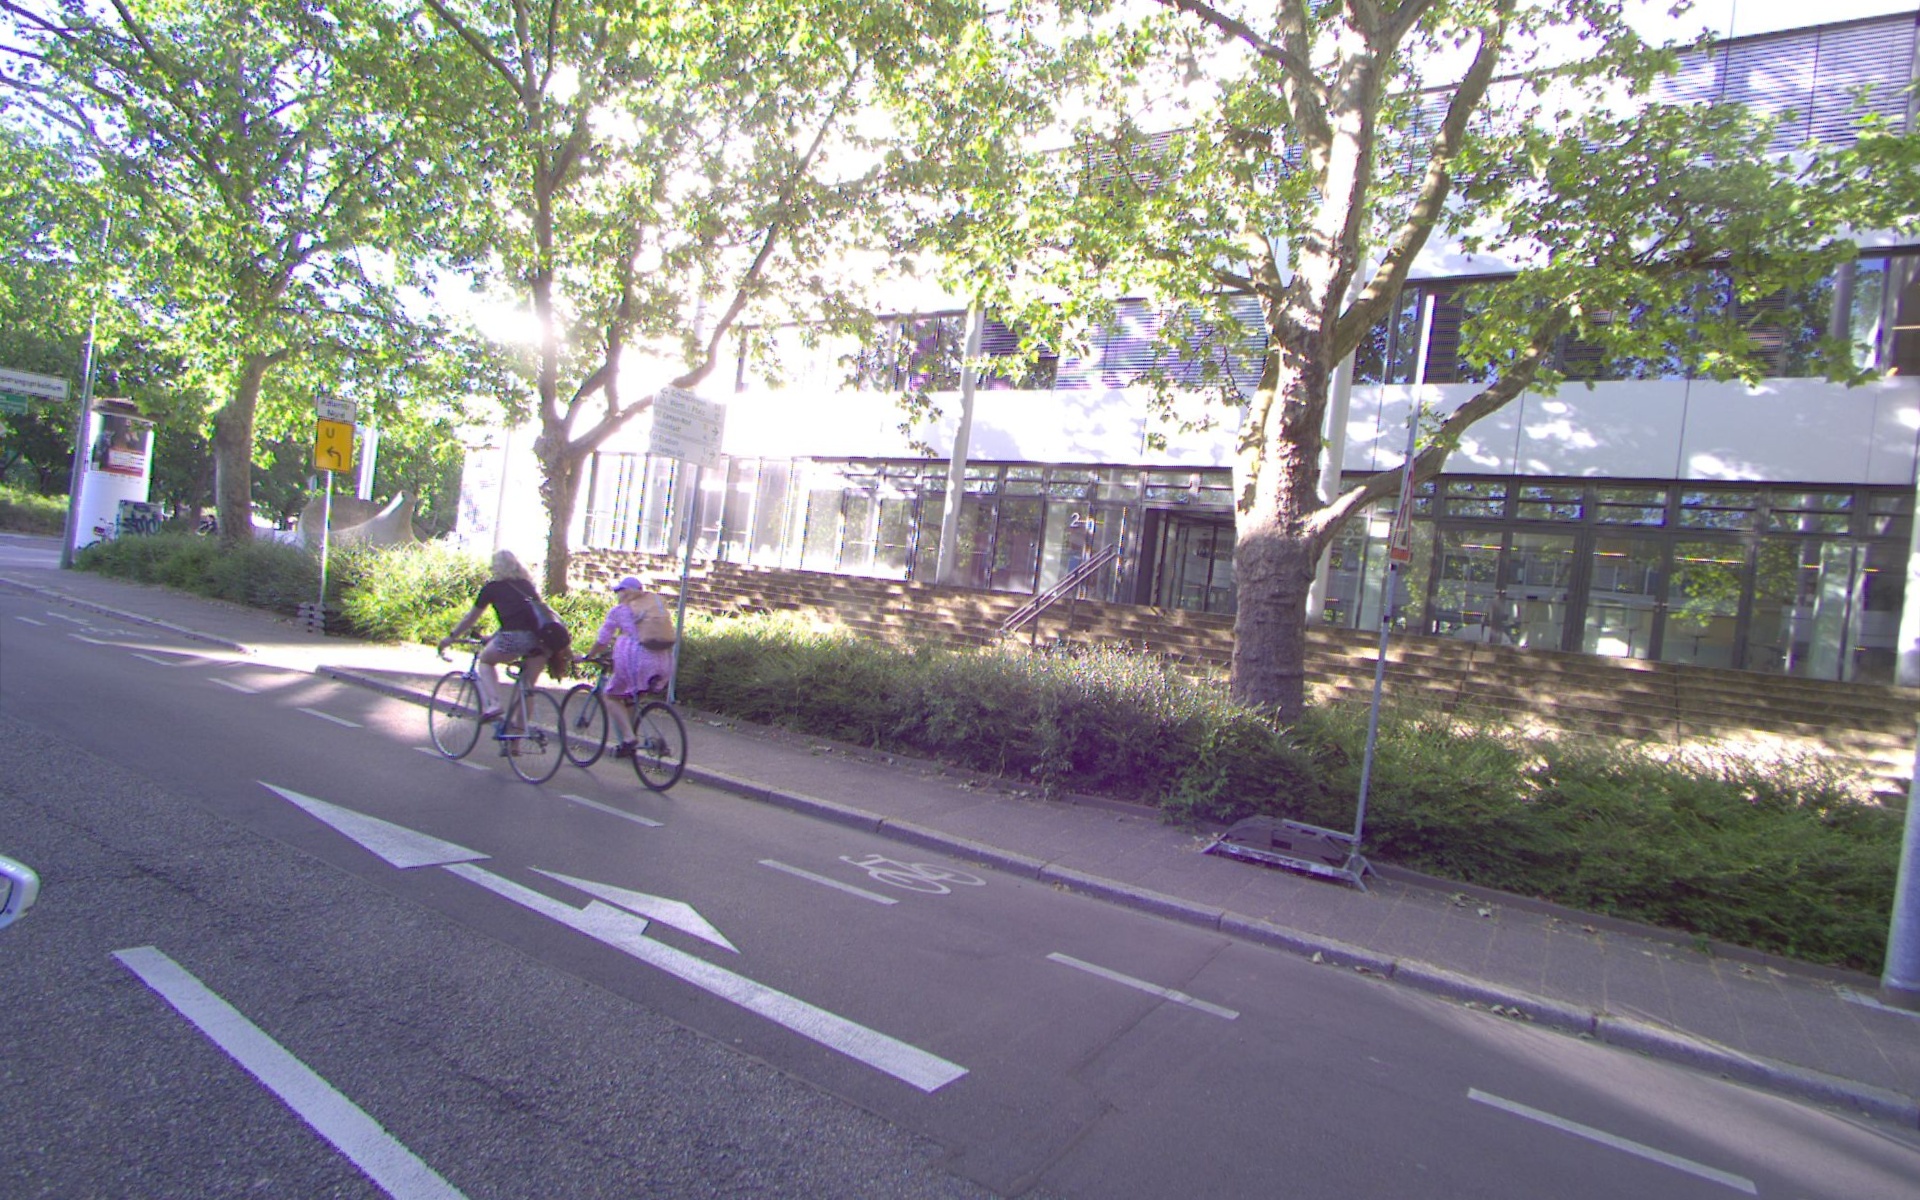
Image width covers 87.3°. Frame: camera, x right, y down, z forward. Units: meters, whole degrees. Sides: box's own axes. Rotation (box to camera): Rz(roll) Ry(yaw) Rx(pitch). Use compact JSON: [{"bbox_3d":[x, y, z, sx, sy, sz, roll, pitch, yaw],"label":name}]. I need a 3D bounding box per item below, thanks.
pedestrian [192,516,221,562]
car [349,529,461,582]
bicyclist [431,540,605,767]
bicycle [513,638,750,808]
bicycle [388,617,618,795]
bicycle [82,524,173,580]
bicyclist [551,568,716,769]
[{"bbox_3d":[-31.425,-2.560,41.949,0.620,1.805,0.620,7,0,34],"label":"pedestrian"},{"bbox_3d":[-25.874,-2.050,46.977,1.969,1.805,3.998,7,-1,37],"label":"car"},{"bbox_3d":[-3.280,0.391,7.471,0.875,1.533,0.611,7,-2,32],"label":"bicyclist"},{"bbox_3d":[-2.604,0.925,7.891,1.850,0.996,0.602,7,-2,32],"label":"bicycle"},{"bbox_3d":[-3.460,0.763,7.570,1.702,1.038,0.611,7,-2,32],"label":"bicycle"},{"bbox_3d":[-19.088,-1.088,23.095,0.529,1.049,1.418,7,-1,28],"label":"bicycle"},{"bbox_3d":[-2.565,0.530,7.911,0.915,1.417,0.602,7,-2,32],"label":"bicyclist"}]
